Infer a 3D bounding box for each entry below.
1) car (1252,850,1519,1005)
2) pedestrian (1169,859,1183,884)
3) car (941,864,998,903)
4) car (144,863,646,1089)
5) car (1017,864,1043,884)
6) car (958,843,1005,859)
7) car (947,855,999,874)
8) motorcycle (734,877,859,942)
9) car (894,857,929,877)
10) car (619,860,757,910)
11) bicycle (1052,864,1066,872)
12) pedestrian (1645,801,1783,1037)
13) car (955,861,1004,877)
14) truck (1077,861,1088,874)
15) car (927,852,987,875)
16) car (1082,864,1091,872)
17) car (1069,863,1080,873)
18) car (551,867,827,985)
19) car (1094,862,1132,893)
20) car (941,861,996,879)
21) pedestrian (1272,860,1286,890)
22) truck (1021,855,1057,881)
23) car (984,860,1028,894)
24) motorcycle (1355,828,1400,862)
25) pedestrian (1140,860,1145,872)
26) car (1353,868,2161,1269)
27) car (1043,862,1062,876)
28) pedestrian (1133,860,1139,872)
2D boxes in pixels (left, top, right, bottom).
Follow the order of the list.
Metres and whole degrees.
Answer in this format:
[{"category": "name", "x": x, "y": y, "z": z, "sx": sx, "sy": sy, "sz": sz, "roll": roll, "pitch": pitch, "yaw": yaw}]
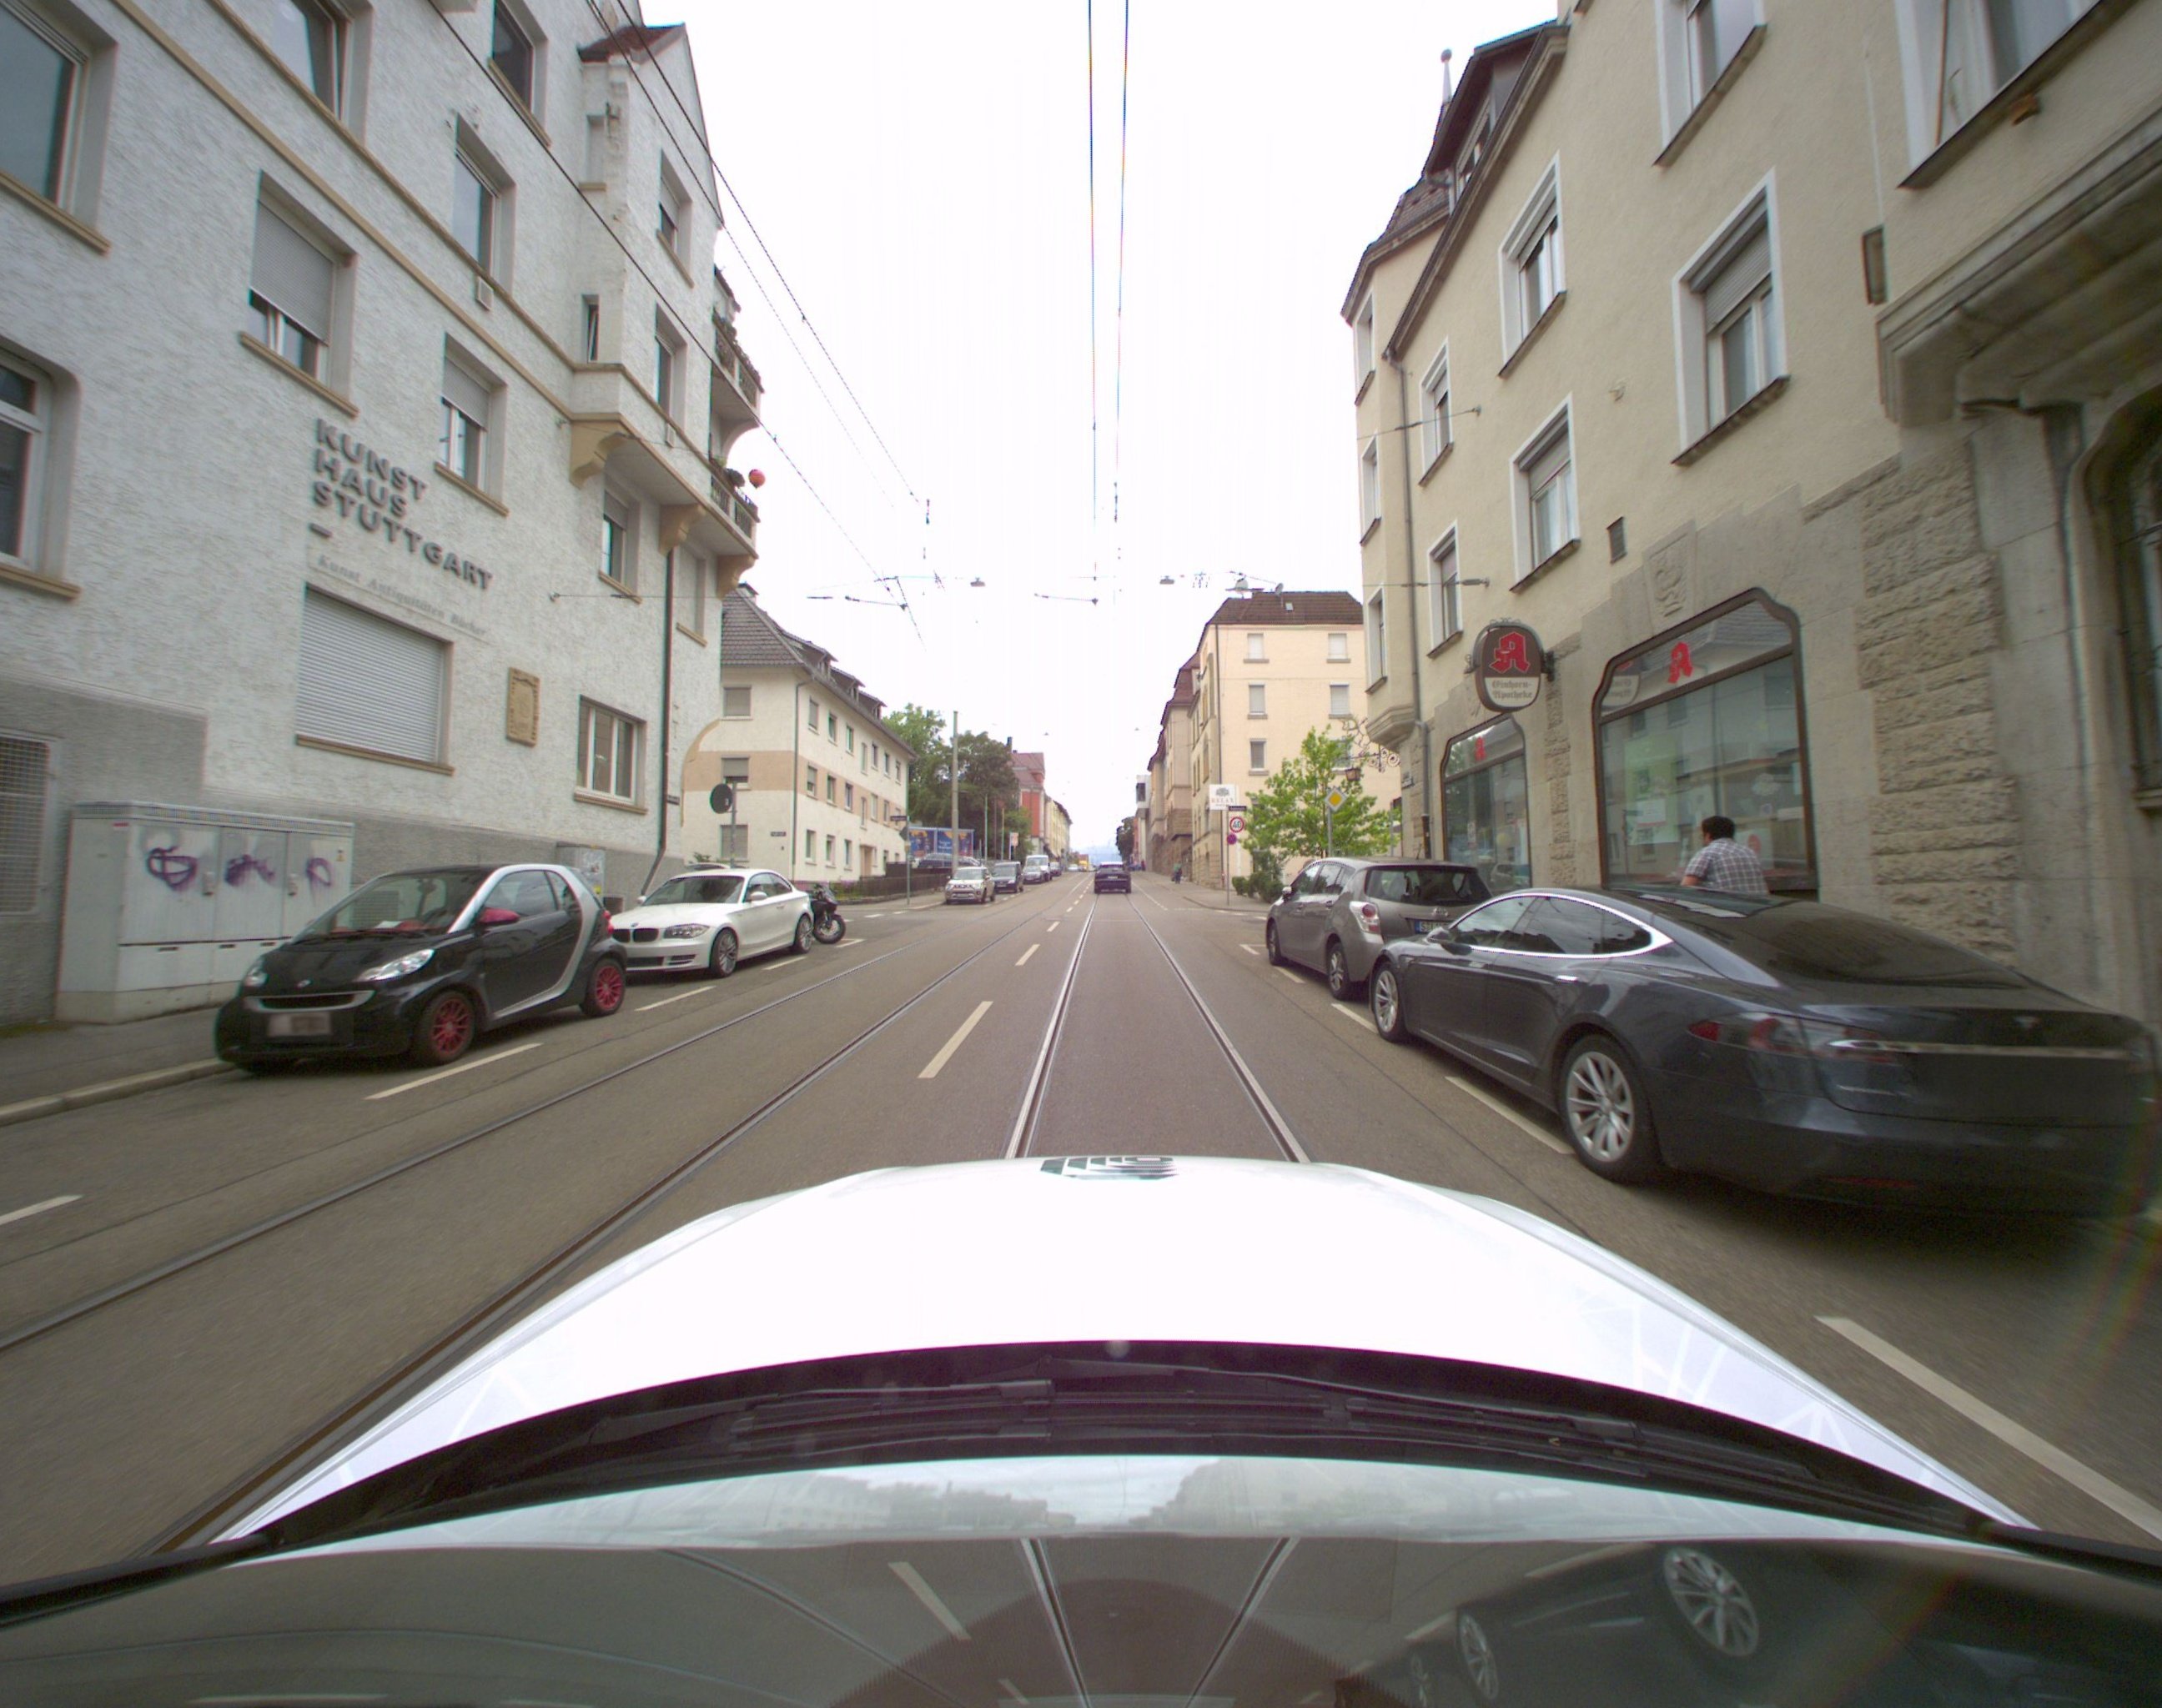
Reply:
[{"category": "car", "x": 3.600, "y": 0.771, "z": 10.610, "sx": 1.729, "sy": 1.537, "sz": 4.572, "roll": 2, "pitch": 0, "yaw": 0}, {"category": "pedestrian", "x": 6.572, "y": 1.174, "z": 56.276, "sx": 0.867, "sy": 1.686, "sz": 0.663, "roll": -2, "pitch": -1, "yaw": 0}, {"category": "car", "x": -4.714, "y": 1.232, "z": 34.842, "sx": 1.690, "sy": 1.556, "sz": 3.853, "roll": 0, "pitch": 0, "yaw": 3}, {"category": "car", "x": -5.518, "y": 0.854, "z": 7.094, "sx": 1.690, "sy": 1.468, "sz": 3.025, "roll": -3, "pitch": -1, "yaw": 2}, {"category": "car", "x": -3.984, "y": 1.534, "z": 64.134, "sx": 1.691, "sy": 1.433, "sz": 4.481, "roll": -2, "pitch": 0, "yaw": 0}, {"category": "car", "x": -8.749, "y": -0.263, "z": 71.595, "sx": 3.862, "sy": 1.357, "sz": 1.688, "roll": 0, "pitch": -1, "yaw": 1}, {"category": "car", "x": -8.807, "y": 0.849, "z": 66.684, "sx": 4.046, "sy": 1.494, "sz": 1.688, "roll": 0, "pitch": -1, "yaw": 1}, {"category": "motorcycle", "x": -5.324, "y": 1.040, "z": 15.261, "sx": 2.093, "sy": 1.134, "sz": 0.769, "roll": -2, "pitch": 0, "yaw": 15}, {"category": "car", "x": -12.886, "y": 0.993, "z": 62.001, "sx": 1.675, "sy": 1.494, "sz": 3.891, "roll": 0, "pitch": 0, "yaw": 3}, {"category": "car", "x": -12.673, "y": 1.016, "z": 26.427, "sx": 3.501, "sy": 1.493, "sz": 1.777, "roll": 0, "pitch": -6, "yaw": 2}, {"category": "bicycle", "x": -2.930, "y": 1.898, "z": 109.555, "sx": 1.903, "sy": 1.000, "sz": 0.479, "roll": 0, "pitch": -1, "yaw": 2}, {"category": "pedestrian", "x": 5.058, "y": 0.502, "z": 6.546, "sx": 0.597, "sy": 1.803, "sz": 0.632, "roll": 0, "pitch": -1, "yaw": 1}, {"category": "car", "x": -8.620, "y": 1.289, "z": 69.246, "sx": 3.862, "sy": 1.357, "sz": 1.688, "roll": 0, "pitch": -1, "yaw": 1}, {"category": "truck", "x": 0.281, "y": 3.167, "z": 191.764, "sx": 2.294, "sy": 3.037, "sz": 9.036, "roll": 0, "pitch": -1, "yaw": 2}, {"category": "car", "x": -9.024, "y": 0.713, "z": 59.527, "sx": 4.046, "sy": 1.552, "sz": 1.688, "roll": 1, "pitch": -1, "yaw": 1}, {"category": "car", "x": 1.104, "y": 2.928, "z": 171.955, "sx": 1.848, "sy": 1.607, "sz": 4.298, "roll": 0, "pitch": 0, "yaw": 2}, {"category": "car", "x": -1.097, "y": 2.432, "z": 139.201, "sx": 1.848, "sy": 1.607, "sz": 4.298, "roll": 0, "pitch": 0, "yaw": 2}, {"category": "car", "x": -5.389, "y": 0.900, "z": 11.939, "sx": 1.772, "sy": 1.357, "sz": 4.295, "roll": -1, "pitch": 0, "yaw": 3}, {"category": "car", "x": 1.767, "y": 1.234, "z": 44.570, "sx": 1.986, "sy": 1.563, "sz": 4.292, "roll": 0, "pitch": 0, "yaw": 2}, {"category": "car", "x": -8.827, "y": 1.256, "z": 64.206, "sx": 4.046, "sy": 1.445, "sz": 1.688, "roll": 0, "pitch": -1, "yaw": 1}, {"category": "pedestrian", "x": 10.291, "y": 1.086, "z": 42.386, "sx": 0.556, "sy": 1.582, "sz": 0.686, "roll": 0, "pitch": -1, "yaw": 2}, {"category": "truck", "x": -3.574, "y": 1.170, "z": 71.090, "sx": 2.271, "sy": 2.188, "sz": 8.030, "roll": 0, "pitch": 0, "yaw": 3}, {"category": "car", "x": -4.160, "y": 1.249, "z": 45.918, "sx": 1.736, "sy": 1.736, "sz": 4.523, "roll": -2, "pitch": -1, "yaw": 3}, {"category": "motorcycle", "x": 11.607, "y": -0.336, "z": 32.004, "sx": 0.924, "sy": 1.105, "sz": 2.384, "roll": 1, "pitch": -5, "yaw": 1}, {"category": "pedestrian", "x": 8.513, "y": 1.600, "z": 112.622, "sx": 0.788, "sy": 1.667, "sz": 0.799, "roll": 0, "pitch": -1, "yaw": 4}, {"category": "car", "x": 3.440, "y": 0.833, "z": 5.350, "sx": 1.774, "sy": 1.390, "sz": 4.692, "roll": 2, "pitch": 0, "yaw": 1}, {"category": "car", "x": -3.033, "y": 1.567, "z": 86.423, "sx": 1.705, "sy": 1.446, "sz": 4.292, "roll": 0, "pitch": 0, "yaw": 2}, {"category": "pedestrian", "x": 7.618, "y": 1.652, "z": 112.674, "sx": 0.788, "sy": 1.667, "sz": 0.799, "roll": 0, "pitch": -1, "yaw": 4}]
